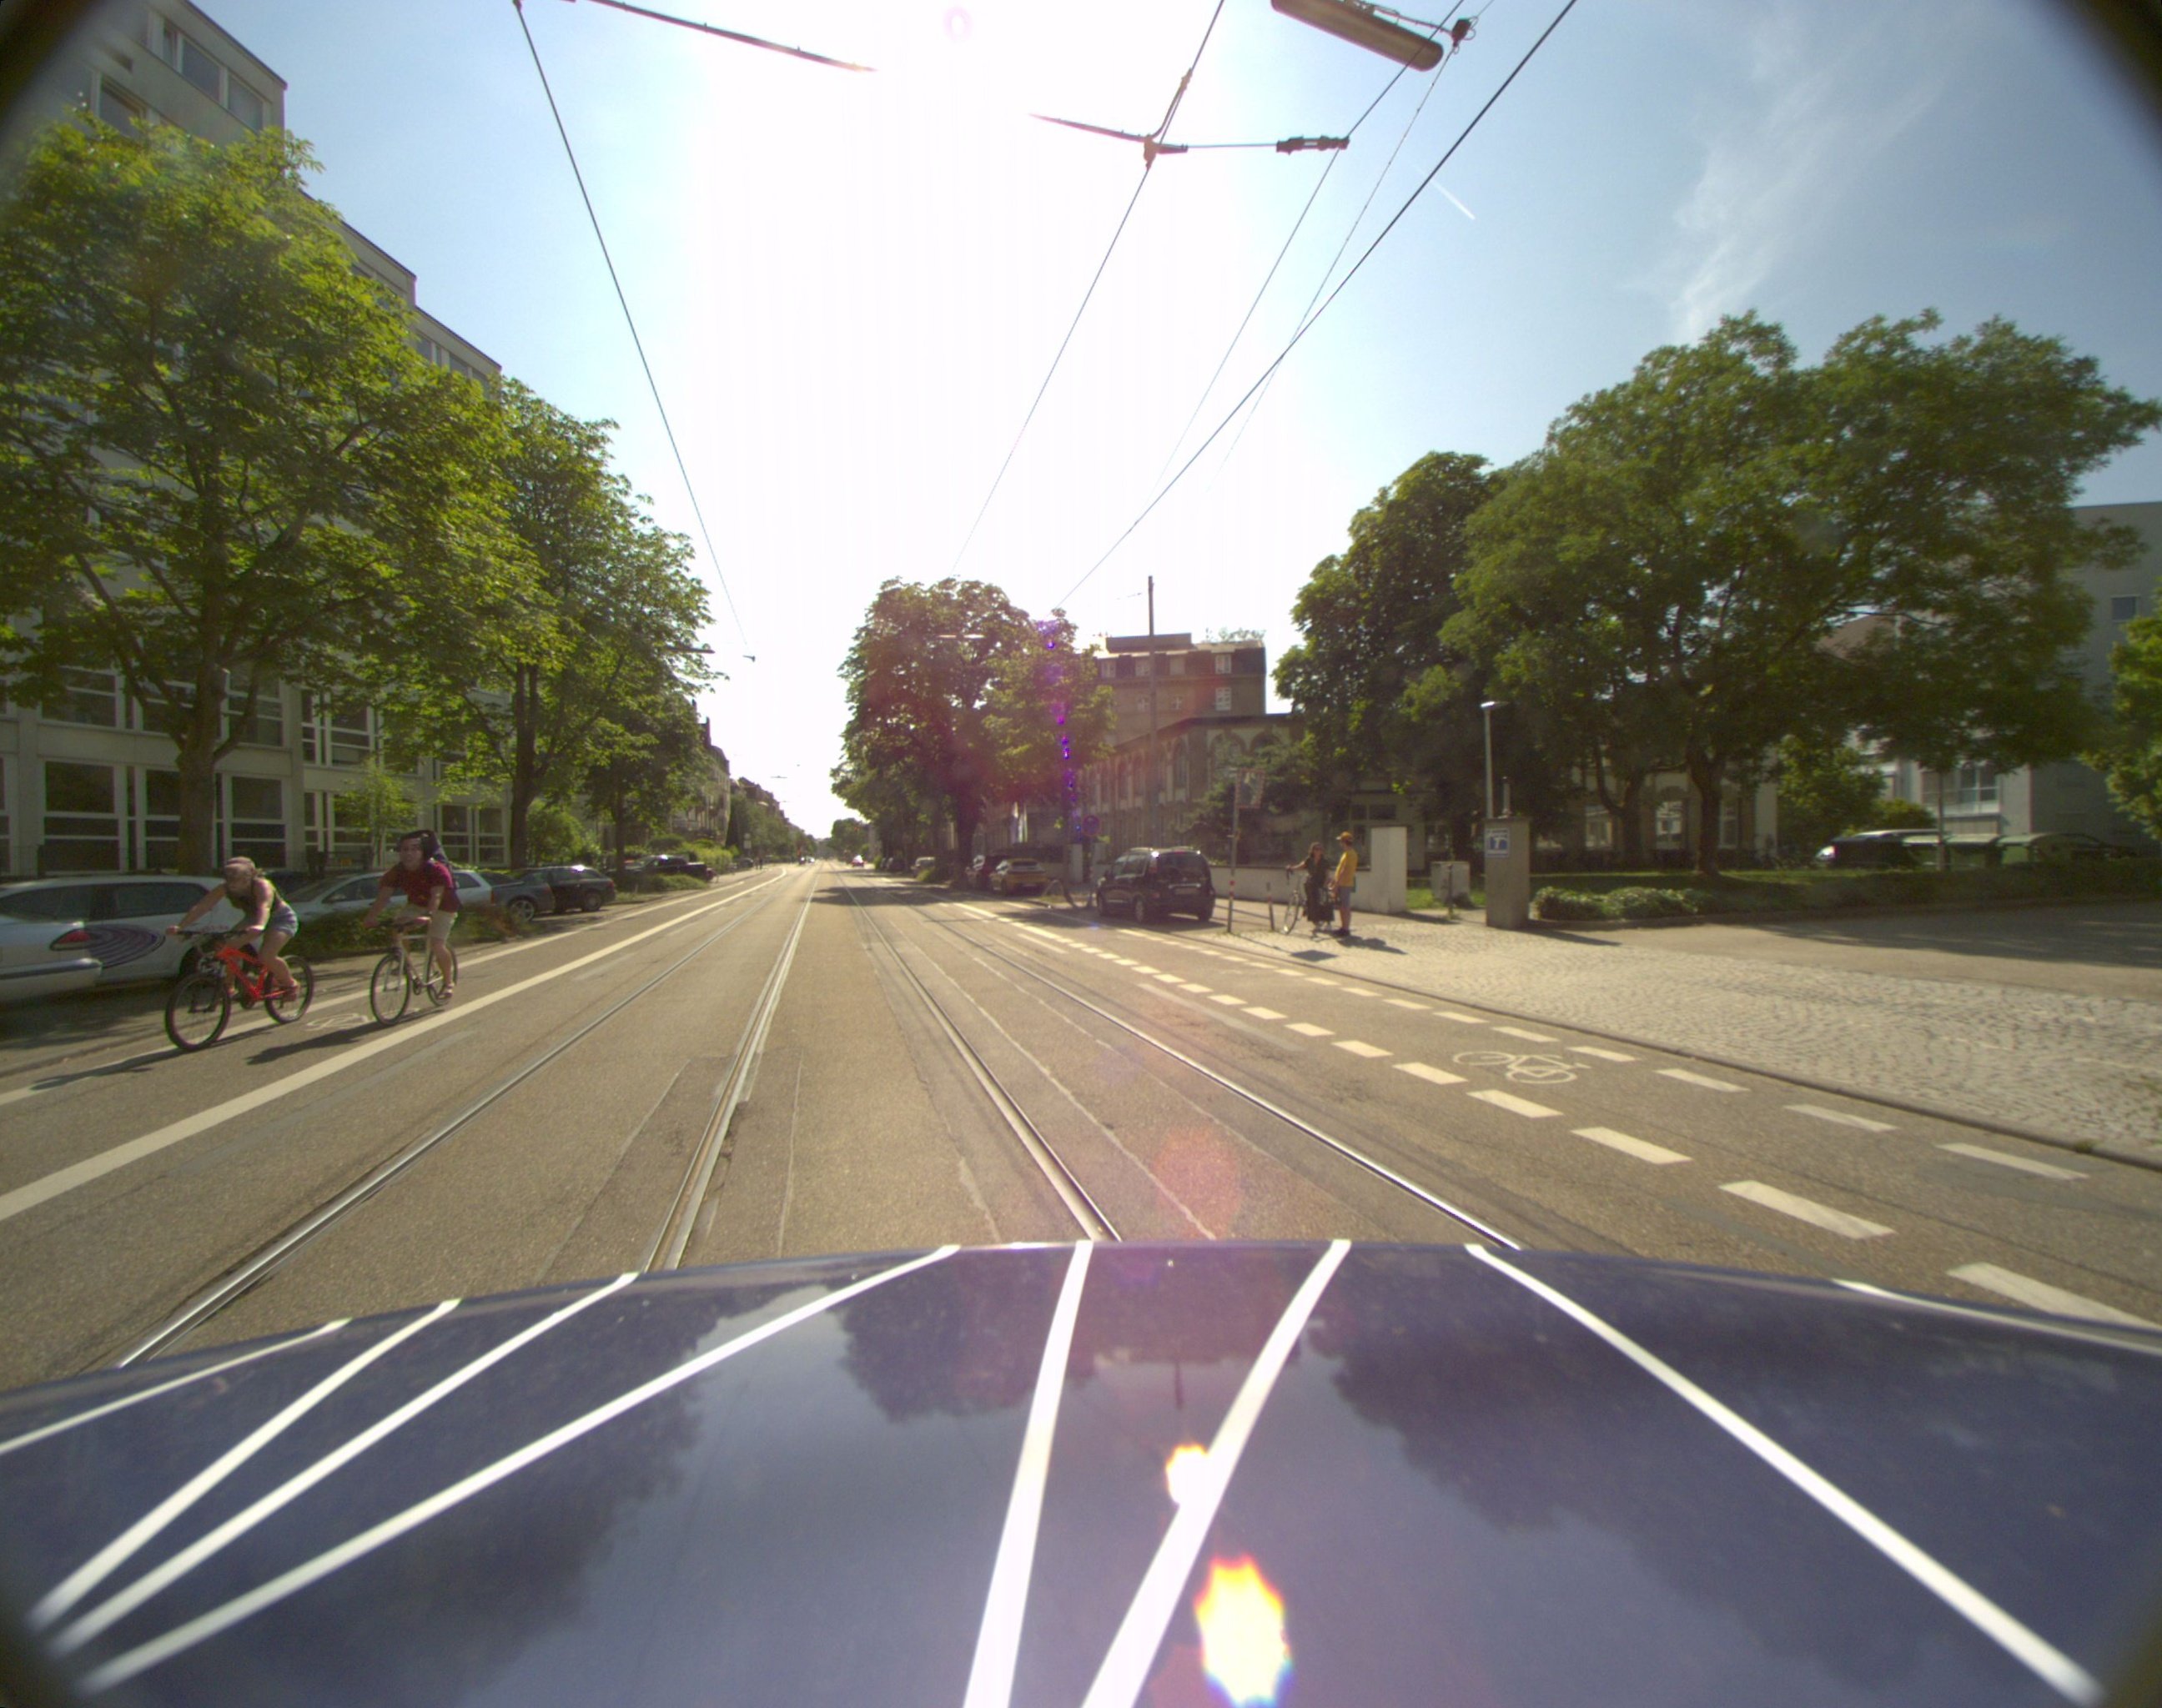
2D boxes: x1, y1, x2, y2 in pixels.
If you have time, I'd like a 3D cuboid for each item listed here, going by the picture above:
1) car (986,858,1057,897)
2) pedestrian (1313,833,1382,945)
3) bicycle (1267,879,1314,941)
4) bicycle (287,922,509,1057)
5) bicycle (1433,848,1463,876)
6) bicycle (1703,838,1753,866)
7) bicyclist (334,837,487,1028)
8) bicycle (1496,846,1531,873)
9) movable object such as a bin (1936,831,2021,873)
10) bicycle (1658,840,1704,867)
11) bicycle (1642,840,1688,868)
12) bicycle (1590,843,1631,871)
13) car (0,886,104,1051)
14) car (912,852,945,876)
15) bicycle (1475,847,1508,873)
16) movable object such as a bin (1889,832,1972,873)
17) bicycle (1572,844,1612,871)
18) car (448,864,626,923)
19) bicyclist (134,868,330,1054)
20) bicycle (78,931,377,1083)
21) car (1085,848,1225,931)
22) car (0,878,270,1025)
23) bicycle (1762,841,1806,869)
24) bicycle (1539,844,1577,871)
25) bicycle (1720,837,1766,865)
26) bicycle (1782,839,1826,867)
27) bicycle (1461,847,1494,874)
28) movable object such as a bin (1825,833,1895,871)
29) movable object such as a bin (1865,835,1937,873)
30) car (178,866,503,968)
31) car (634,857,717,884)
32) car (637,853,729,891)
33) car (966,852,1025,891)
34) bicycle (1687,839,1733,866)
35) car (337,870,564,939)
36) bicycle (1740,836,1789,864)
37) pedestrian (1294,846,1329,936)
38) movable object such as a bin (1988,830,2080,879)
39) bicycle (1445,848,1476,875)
[{"bbox_3d":[-2.496,0.899,30.736,1.858,1.403,3.993,-1,1,-20],"label":"car"},{"bbox_3d":[4.593,0.577,13.131,0.853,1.854,0.829,-1,1,-2],"label":"pedestrian"},{"bbox_3d":[3.939,1.015,14.222,0.362,1.035,1.515,0,1,34],"label":"bicycle"},{"bbox_3d":[-6.718,1.265,7.672,0.680,0.912,2.317,-1,1,-16],"label":"bicycle"},{"bbox_3d":[16.371,0.342,33.918,0.587,1.155,2.103,-1,1,7],"label":"bicycle"},{"bbox_3d":[27.860,-0.112,32.742,0.587,1.155,2.103,-1,1,7],"label":"bicycle"},{"bbox_3d":[-6.702,0.737,7.659,0.805,1.791,0.863,-1,1,-15],"label":"bicyclist"},{"bbox_3d":[19.360,0.221,34.039,0.587,1.155,2.103,-1,1,7],"label":"bicycle"},{"bbox_3d":[29.436,-0.069,24.952,1.214,1.293,1.356,-1,1,4],"label":"movable object such as a bin"},{"bbox_3d":[26.040,-0.034,33.012,0.587,1.155,2.103,-1,1,7],"label":"bicycle"},{"bbox_3d":[25.370,-0.008,33.041,0.587,1.155,2.103,-1,1,7],"label":"bicycle"},{"bbox_3d":[23.275,0.115,33.453,0.587,1.155,2.103,-1,1,7],"label":"bicycle"},{"bbox_3d":[-11.325,1.109,6.147,1.609,1.477,3.952,-1,1,28],"label":"car"},{"bbox_3d":[-11.587,0.706,57.415,1.858,1.670,3.993,-1,1,-20],"label":"car"},{"bbox_3d":[18.445,0.255,34.221,0.587,1.155,2.103,-1,1,7],"label":"bicycle"},{"bbox_3d":[29.555,-0.052,26.474,1.214,1.354,1.502,-1,1,4],"label":"movable object such as a bin"},{"bbox_3d":[22.503,0.124,33.515,0.587,1.155,2.103,-1,1,7],"label":"bicycle"},{"bbox_3d":[-15.850,1.089,22.365,1.554,1.477,3.952,-1,1,26],"label":"car"},{"bbox_3d":[-7.666,0.913,6.923,0.805,1.534,0.863,-1,1,-15],"label":"bicyclist"},{"bbox_3d":[-7.749,1.312,7.111,0.680,0.912,2.317,-1,1,-16],"label":"bicycle"},{"bbox_3d":[1.597,0.721,17.881,1.858,1.674,3.994,-1,1,-17],"label":"car"},{"bbox_3d":[-12.454,1.134,8.718,1.609,1.478,3.951,-1,2,27],"label":"car"},{"bbox_3d":[29.910,0.030,32.361,0.506,1.155,1.806,-1,1,12],"label":"bicycle"},{"bbox_3d":[21.158,0.153,33.725,0.587,1.155,2.103,-1,1,7],"label":"bicycle"},{"bbox_3d":[28.425,-0.126,32.650,0.493,1.155,1.915,-1,1,7],"label":"bicycle"},{"bbox_3d":[30.463,-0.044,32.039,0.556,1.155,1.947,-1,1,17],"label":"bicycle"},{"bbox_3d":[17.812,0.281,34.176,0.587,1.155,2.103,-1,1,7],"label":"bicycle"},{"bbox_3d":[30.208,-0.086,29.502,1.249,1.401,1.436,-1,1,3],"label":"movable object such as a bin"},{"bbox_3d":[30.111,0.000,27.933,1.214,1.341,1.353,-1,1,4],"label":"movable object such as a bin"},{"bbox_3d":[-14.511,1.124,15.264,1.555,1.595,4.351,-1,1,23],"label":"car"},{"bbox_3d":[-24.732,0.983,46.508,1.995,1.499,4.007,-1,1,26],"label":"car"},{"bbox_3d":[-21.159,0.909,40.536,1.996,1.849,4.005,-1,1,19],"label":"car"},{"bbox_3d":[-4.067,0.759,35.480,1.858,1.670,3.993,-1,1,-20],"label":"car"},{"bbox_3d":[27.109,-0.074,32.766,0.587,1.155,1.923,-1,1,7],"label":"bicycle"},{"bbox_3d":[-15.232,1.147,18.622,1.554,1.349,3.952,-1,1,26],"label":"car"},{"bbox_3d":[29.285,-0.161,32.592,0.612,1.155,1.852,-1,1,7],"label":"bicycle"},{"bbox_3d":[4.262,0.676,14.059,0.421,1.612,0.454,-2,2,34],"label":"pedestrian"},{"bbox_3d":[29.391,0.013,23.477,1.213,1.454,1.394,-1,1,19],"label":"movable object such as a bin"},{"bbox_3d":[17.079,0.309,34.273,0.587,1.155,2.103,-1,1,7],"label":"bicycle"}]
